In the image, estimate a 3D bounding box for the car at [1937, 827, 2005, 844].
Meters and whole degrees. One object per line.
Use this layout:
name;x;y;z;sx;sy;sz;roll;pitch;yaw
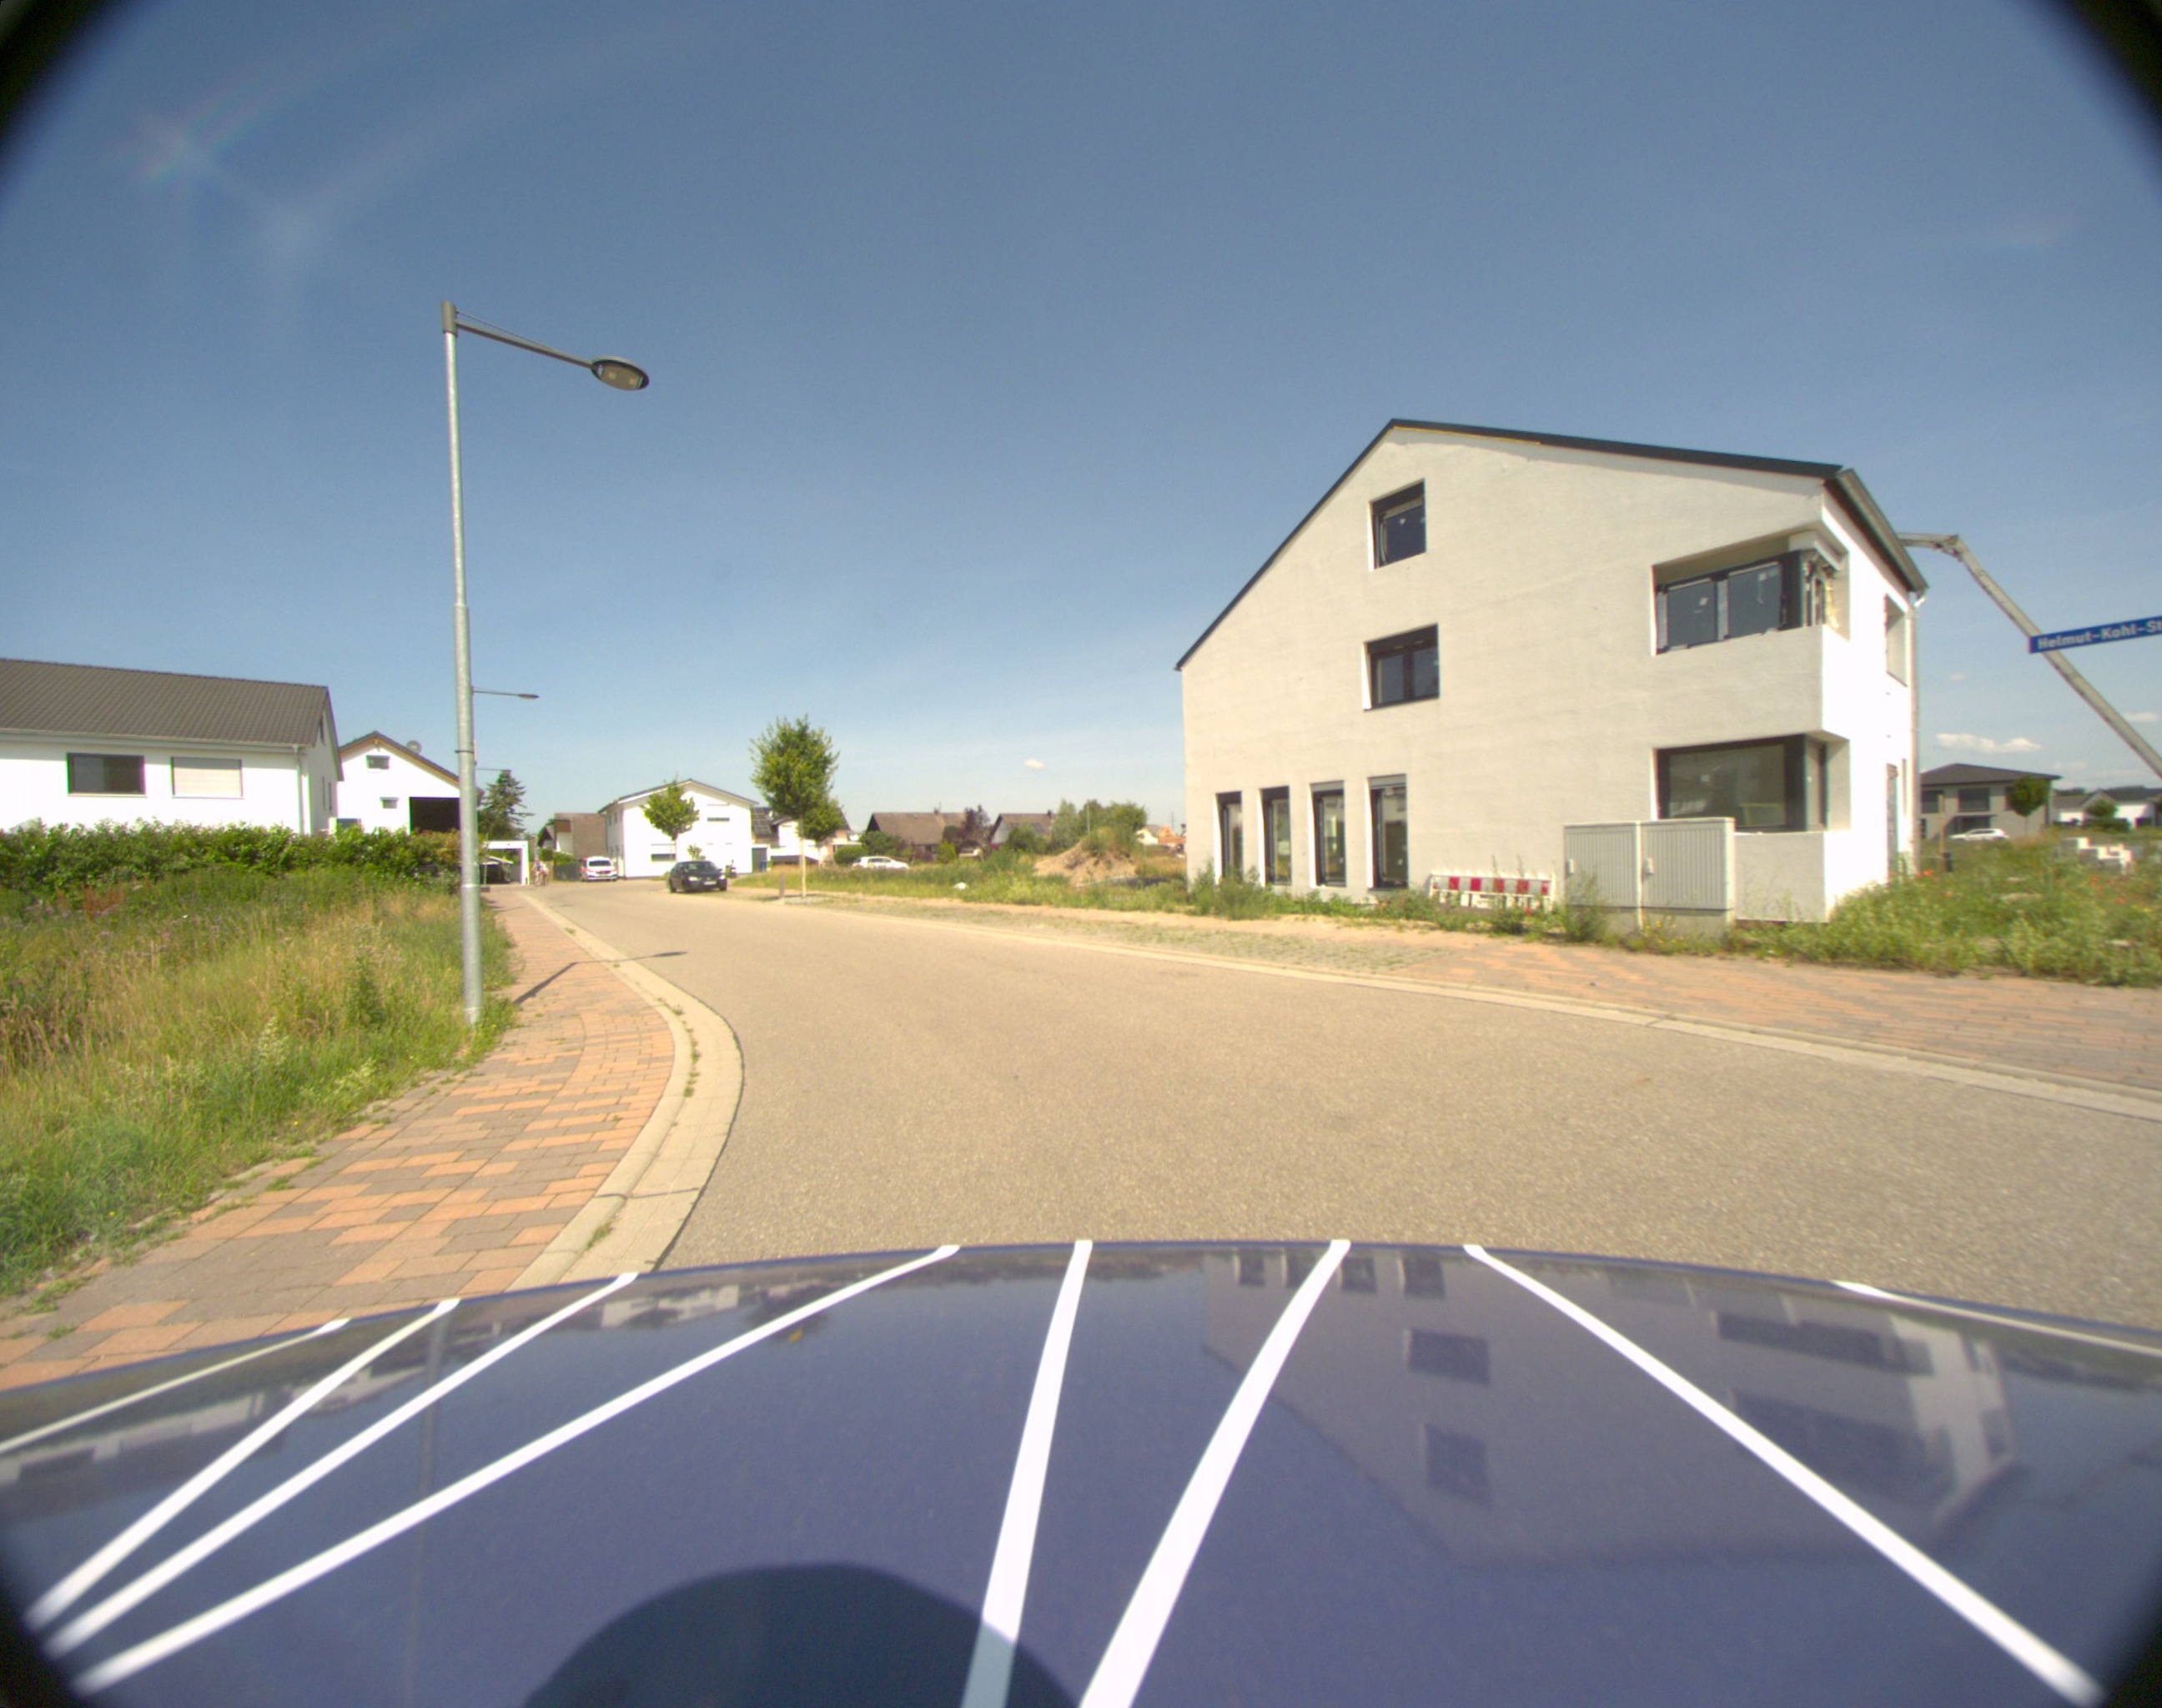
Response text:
car;83.225;-1.713;71.120;1.838;1.543;3.989;-2;1;-45

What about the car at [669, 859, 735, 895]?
car;-17.428;1.005;34.892;1.821;1.446;4.133;-4;2;-38

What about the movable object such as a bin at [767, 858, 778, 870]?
movable object such as a bin;-26.708;0.876;65.817;0.687;0.999;0.739;-2;1;-36

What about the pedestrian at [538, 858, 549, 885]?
pedestrian;-34.537;1.101;48.814;0.552;1.710;0.817;-2;1;-35

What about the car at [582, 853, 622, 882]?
car;-34.631;0.969;54.885;1.860;1.875;4.546;-4;2;-38

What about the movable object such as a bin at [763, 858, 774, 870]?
movable object such as a bin;-27.325;0.882;66.375;0.687;0.999;0.739;-2;1;-36

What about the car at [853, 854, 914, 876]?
car;-14.527;0.801;55.950;4.007;1.494;1.805;-2;1;-33
